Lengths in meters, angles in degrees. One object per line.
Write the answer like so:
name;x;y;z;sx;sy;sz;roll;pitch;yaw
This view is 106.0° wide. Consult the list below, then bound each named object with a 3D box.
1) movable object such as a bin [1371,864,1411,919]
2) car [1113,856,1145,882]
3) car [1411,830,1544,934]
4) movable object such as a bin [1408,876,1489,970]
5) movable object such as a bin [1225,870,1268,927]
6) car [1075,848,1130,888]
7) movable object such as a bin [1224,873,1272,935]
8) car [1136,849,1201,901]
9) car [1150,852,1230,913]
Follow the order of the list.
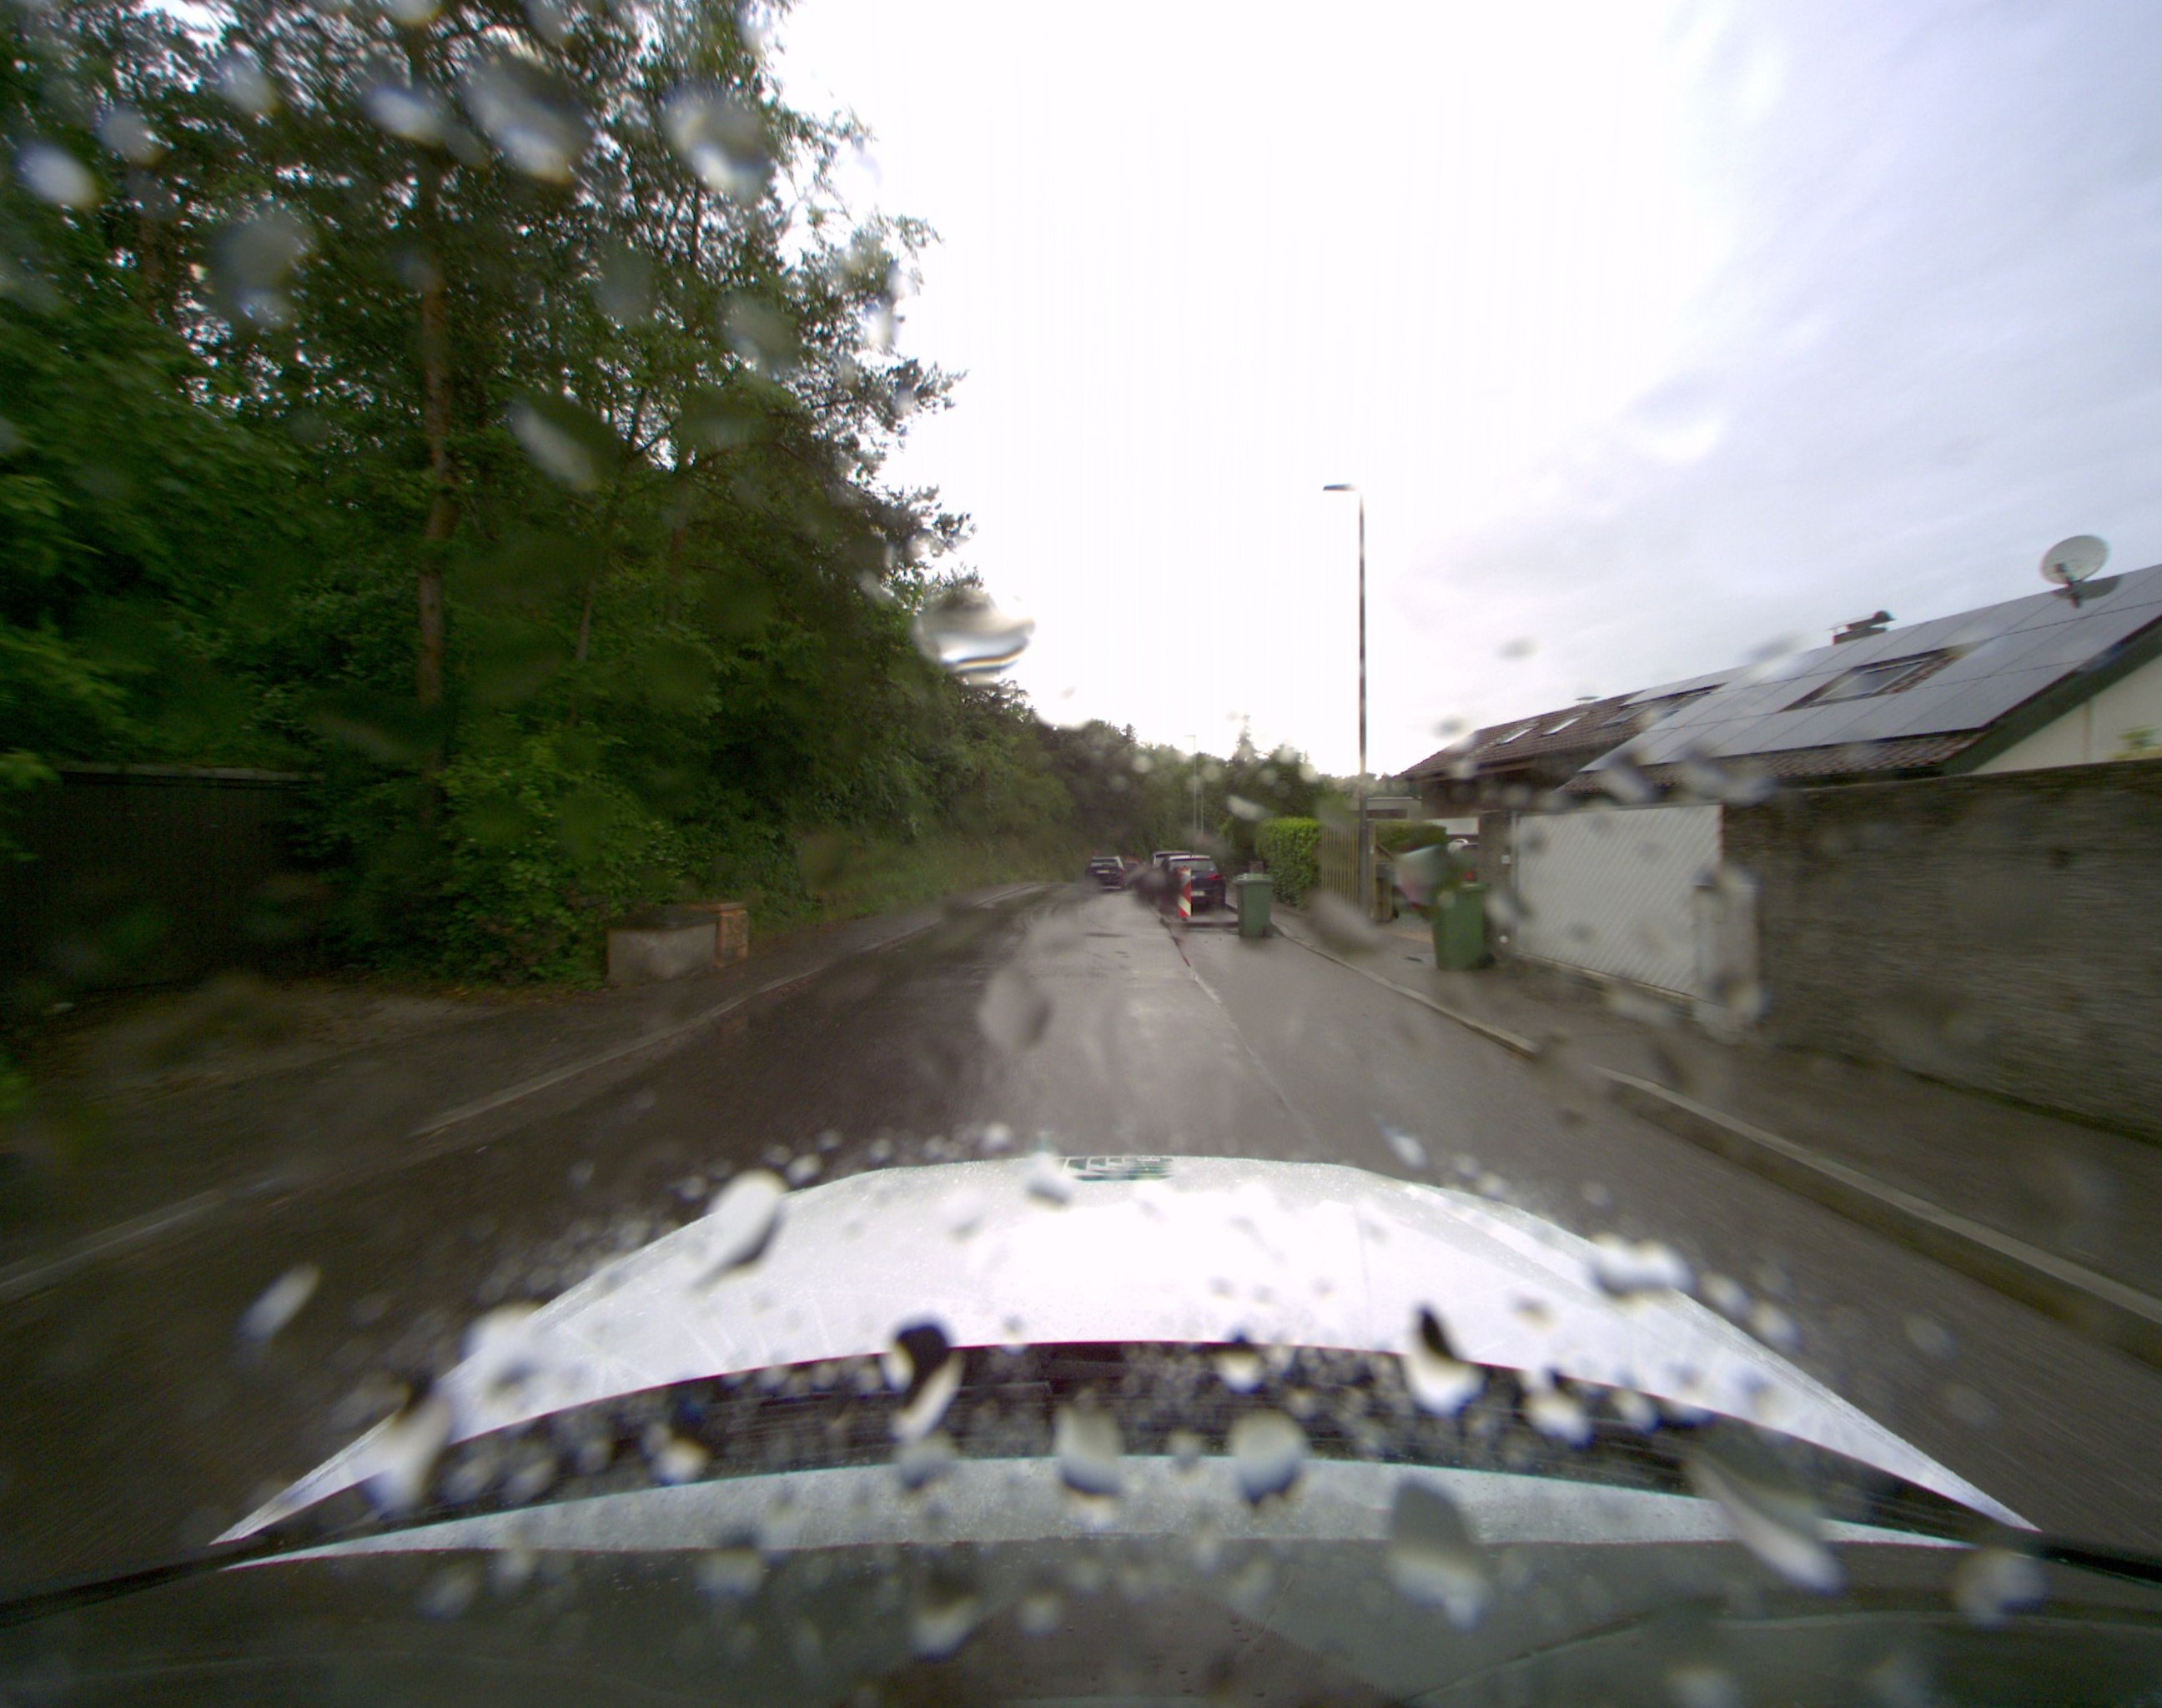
movable object such as a bin;6.708;0.798;17.623;0.741;1.104;0.824;2;0;21
car;3.236;0.993;54.575;1.984;1.605;4.415;0;1;5
car;7.763;0.515;16.341;1.977;1.720;4.431;3;0;21
movable object such as a bin;4.574;0.848;10.170;0.735;1.088;0.600;-2;0;4
movable object such as a bin;3.243;0.857;16.000;0.726;1.078;0.661;0;0;0
car;1.015;0.663;35.488;1.858;1.513;4.101;1;-3;8
movable object such as a bin;3.040;0.901;14.856;0.713;1.095;0.656;0;0;-3
car;2.899;0.650;27.810;1.868;1.592;4.481;0;0;2
car;2.866;0.704;22.273;1.749;1.462;4.303;0;1;2
